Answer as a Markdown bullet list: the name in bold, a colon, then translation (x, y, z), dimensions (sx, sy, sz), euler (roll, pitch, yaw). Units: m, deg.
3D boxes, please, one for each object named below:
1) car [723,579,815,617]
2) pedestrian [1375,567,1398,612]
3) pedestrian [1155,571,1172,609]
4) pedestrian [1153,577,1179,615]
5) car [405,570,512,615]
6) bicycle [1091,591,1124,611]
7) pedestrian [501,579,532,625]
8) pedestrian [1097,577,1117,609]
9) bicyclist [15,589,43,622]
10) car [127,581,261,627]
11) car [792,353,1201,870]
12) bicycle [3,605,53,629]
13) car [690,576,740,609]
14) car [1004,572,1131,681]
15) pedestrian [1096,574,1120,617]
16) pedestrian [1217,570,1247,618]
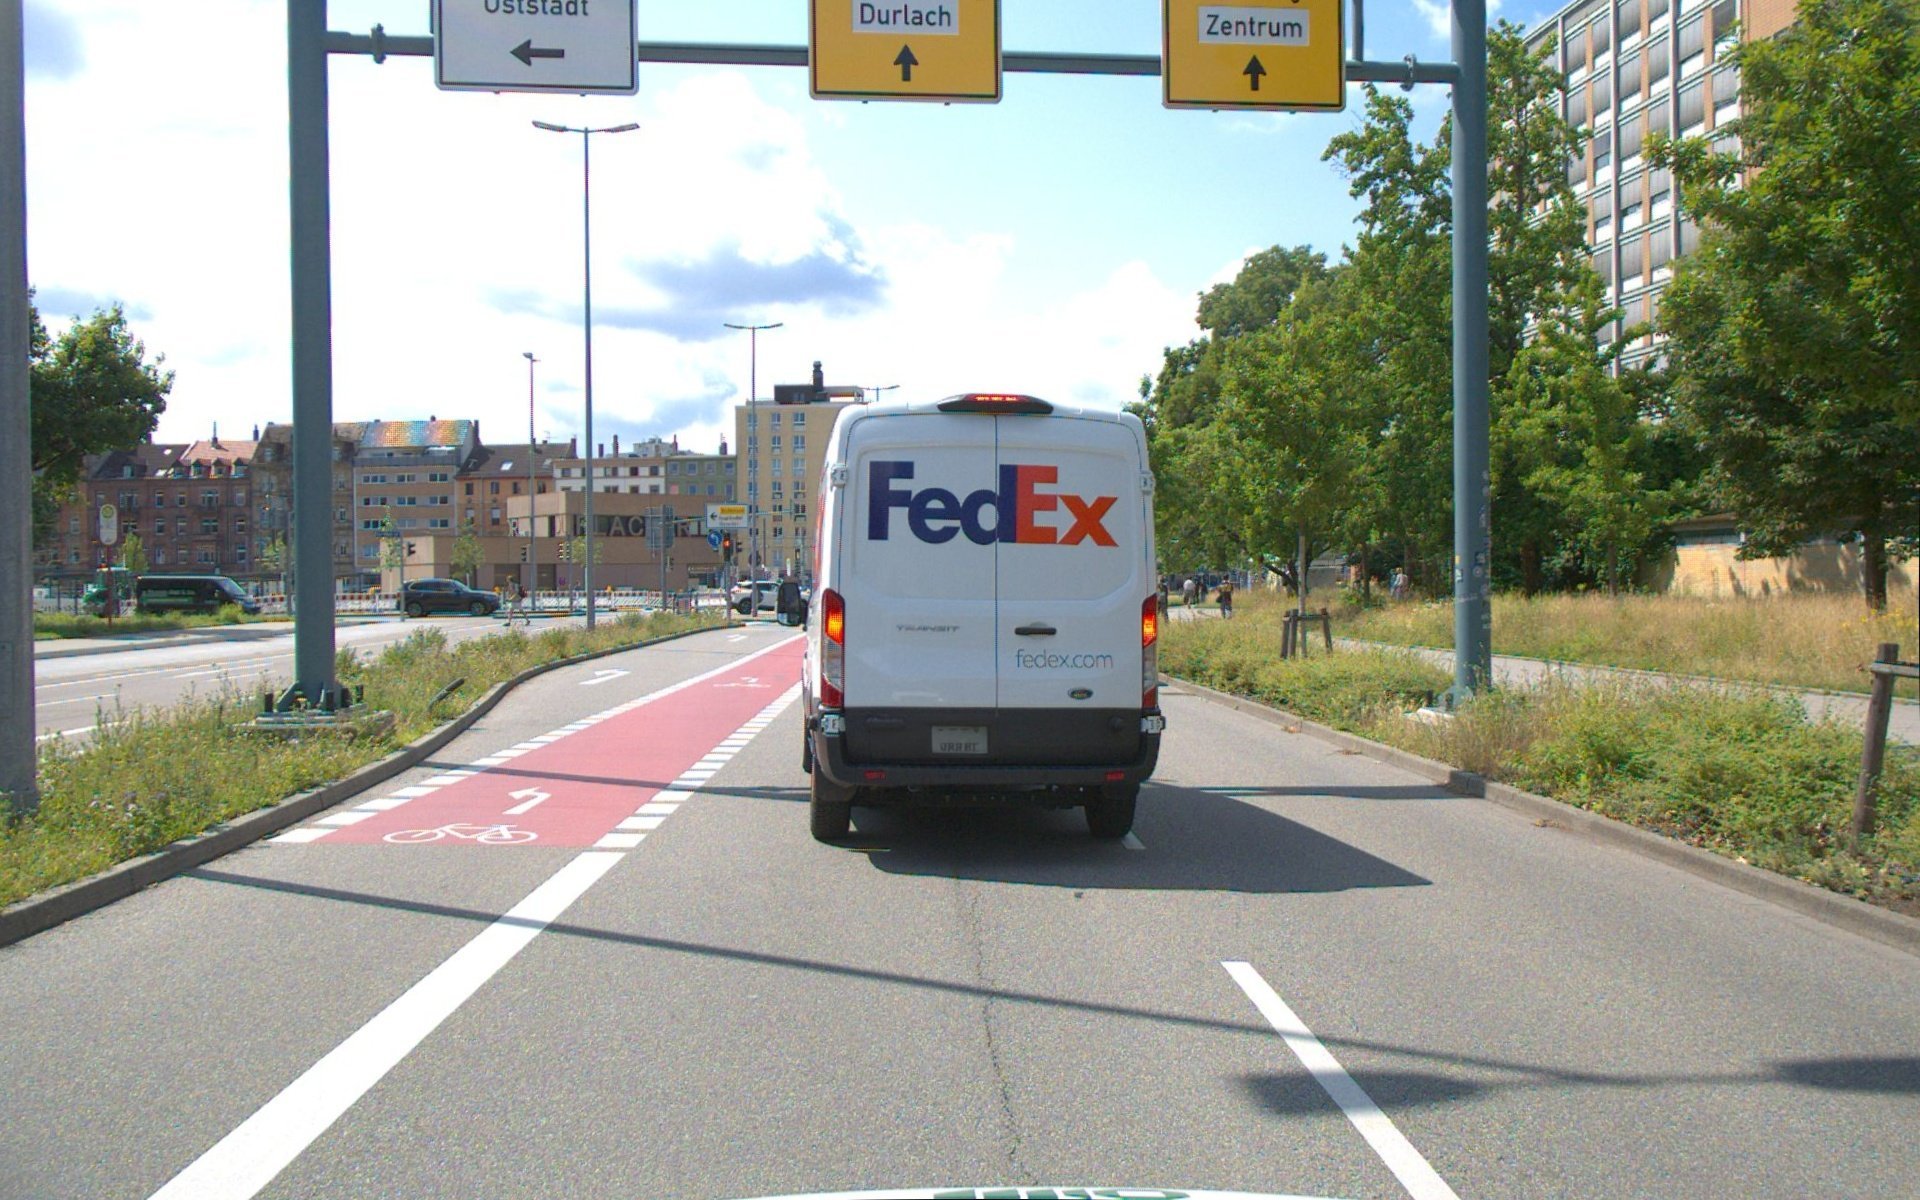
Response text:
- **car**: translation (-9.403, -0.101, 81.283), dimensions (4.285, 1.825, 1.992), euler (-1, 0, -15)
- **pedestrian**: translation (19.941, -0.512, 77.320), dimensions (0.727, 2.094, 0.843), euler (-1, 0, -19)
- **pedestrian**: translation (10.261, -0.517, 83.364), dimensions (0.667, 1.925, 0.573), euler (0, 1, 42)
- **pedestrian**: translation (7.748, -0.157, 62.265), dimensions (0.828, 1.413, 0.740), euler (-1, 0, -3)
- **car**: translation (-23.903, -0.367, 78.955), dimensions (4.541, 2.049, 2.096), euler (-1, 0, -7)
- **bicycle**: translation (7.058, 0.050, 79.188), dimensions (1.537, 0.972, 0.486), euler (0, 1, 17)
- **pedestrian**: translation (-15.445, 0.078, 57.607), dimensions (0.868, 1.587, 0.547), euler (-1, 1, -41)
- **pedestrian**: translation (7.026, -0.340, 79.189), dimensions (0.880, 1.497, 0.486), euler (0, 0, 17)
- **bicyclist**: translation (-42.307, 0.241, 75.133), dimensions (0.950, 1.500, 0.550), euler (-1, 0, -10)
- **car**: translation (-33.616, 0.147, 72.703), dimensions (4.912, 1.911, 1.926), euler (-1, 1, -6)
- **car**: translation (-0.075, 0.011, 11.600), dimensions (2.099, 2.699, 5.696), euler (-1, 1, -6)
- **bicycle**: translation (-42.317, 0.769, 75.136), dimensions (1.885, 1.048, 0.546), euler (-1, 0, -10)
- **car**: translation (-15.800, -0.457, 106.863), dimensions (1.951, 2.049, 4.003), euler (-1, 0, 12)
- **car**: translation (1.818, 0.409, 29.319), dimensions (1.776, 1.764, 4.386), euler (0, 1, -3)
- **pedestrian**: translation (6.585, -0.202, 73.525), dimensions (0.931, 1.925, 0.773), euler (0, 0, -3)
- **pedestrian**: translation (9.043, -0.198, 55.021), dimensions (0.828, 1.565, 0.834), euler (-1, 0, -3)
